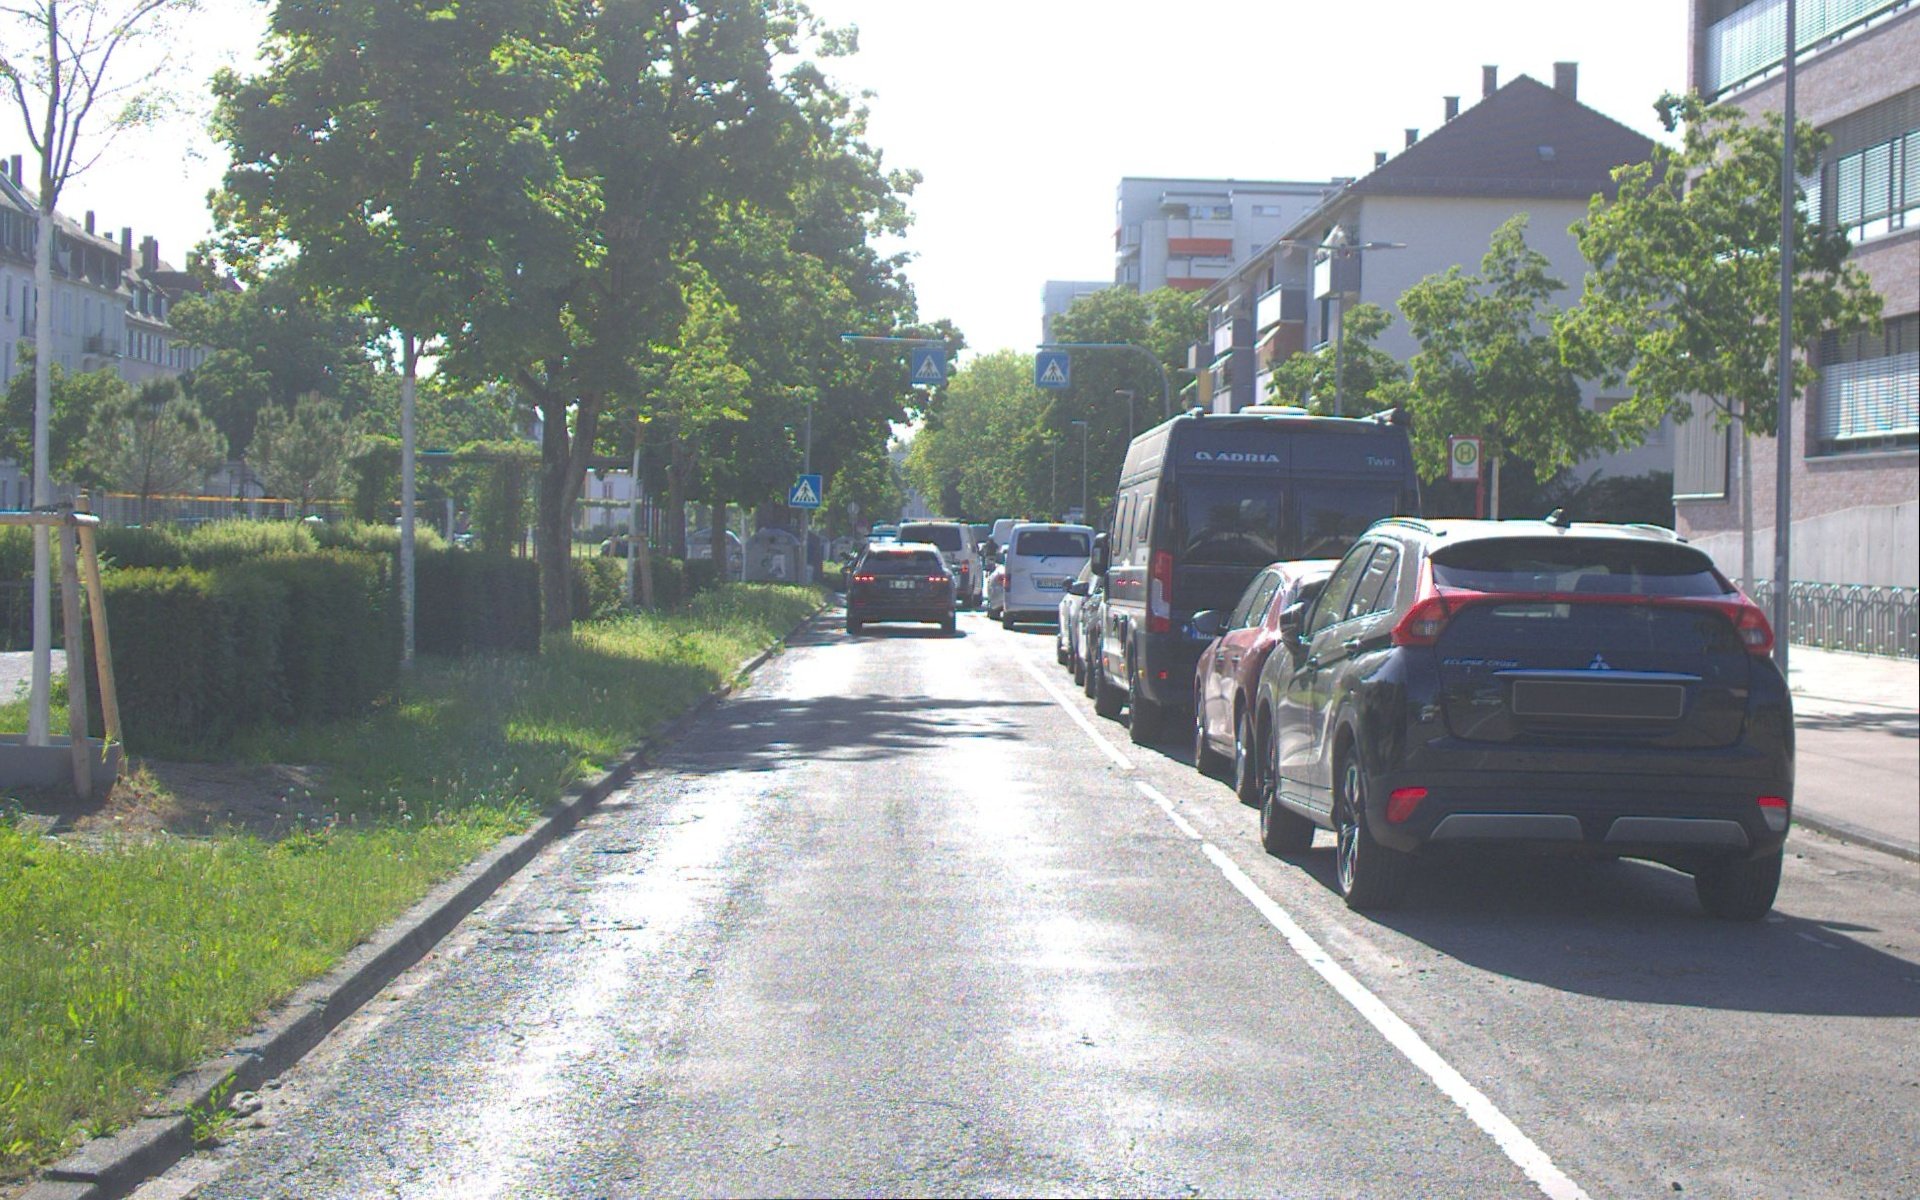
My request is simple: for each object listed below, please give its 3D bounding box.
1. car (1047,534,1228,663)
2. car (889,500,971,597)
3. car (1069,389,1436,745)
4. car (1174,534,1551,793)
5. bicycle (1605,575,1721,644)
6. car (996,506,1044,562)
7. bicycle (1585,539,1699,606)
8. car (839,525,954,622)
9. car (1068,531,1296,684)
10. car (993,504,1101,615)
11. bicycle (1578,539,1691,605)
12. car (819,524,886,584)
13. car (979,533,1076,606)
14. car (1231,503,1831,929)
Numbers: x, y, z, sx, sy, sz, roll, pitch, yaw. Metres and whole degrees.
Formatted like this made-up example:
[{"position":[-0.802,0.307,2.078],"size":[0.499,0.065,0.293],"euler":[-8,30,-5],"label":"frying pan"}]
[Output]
[{"position":[2.074,-0.058,41.421],"size":[1.794,1.415,4.658],"euler":[2,1,-1],"label":"car"},{"position":[-0.692,-1.193,79.462],"size":[1.794,2.115,4.000],"euler":[2,1,-1],"label":"car"},{"position":[2.218,-0.293,28.104],"size":[2.115,2.507,6.533],"euler":[2,1,-2],"label":"car"},{"position":[2.451,0.333,21.834],"size":[1.794,1.450,3.950],"euler":[2,1,-1],"label":"car"},{"position":[11.480,0.156,56.146],"size":[1.794,1.104,0.500],"euler":[0,1,-3],"label":"bicycle"},{"position":[2.774,-3.071,159.814],"size":[1.993,2.422,4.500],"euler":[4,1,-1],"label":"car"},{"position":[11.372,-0.463,57.378],"size":[1.794,1.104,0.500],"euler":[0,1,-3],"label":"bicycle"},{"position":[-1.032,-0.463,57.089],"size":[1.794,1.505,4.000],"euler":[2,1,-1],"label":"car"},{"position":[2.215,0.034,35.518],"size":[1.993,1.415,4.636],"euler":[2,1,0],"label":"car"},{"position":[1.550,-0.748,61.450],"size":[1.794,1.848,4.413],"euler":[2,1,1],"label":"car"},{"position":[11.353,-0.472,57.904],"size":[1.794,1.104,0.500],"euler":[0,1,-3],"label":"bicycle"},{"position":[-3.090,-1.349,99.565],"size":[1.794,1.619,4.000],"euler":[2,1,-1],"label":"car"},{"position":[1.310,-0.598,68.187],"size":[1.764,1.314,4.168],"euler":[3,0,0],"label":"car"},{"position":[2.436,0.420,15.838],"size":[1.846,1.634,4.504],"euler":[2,1,-2],"label":"car"}]
